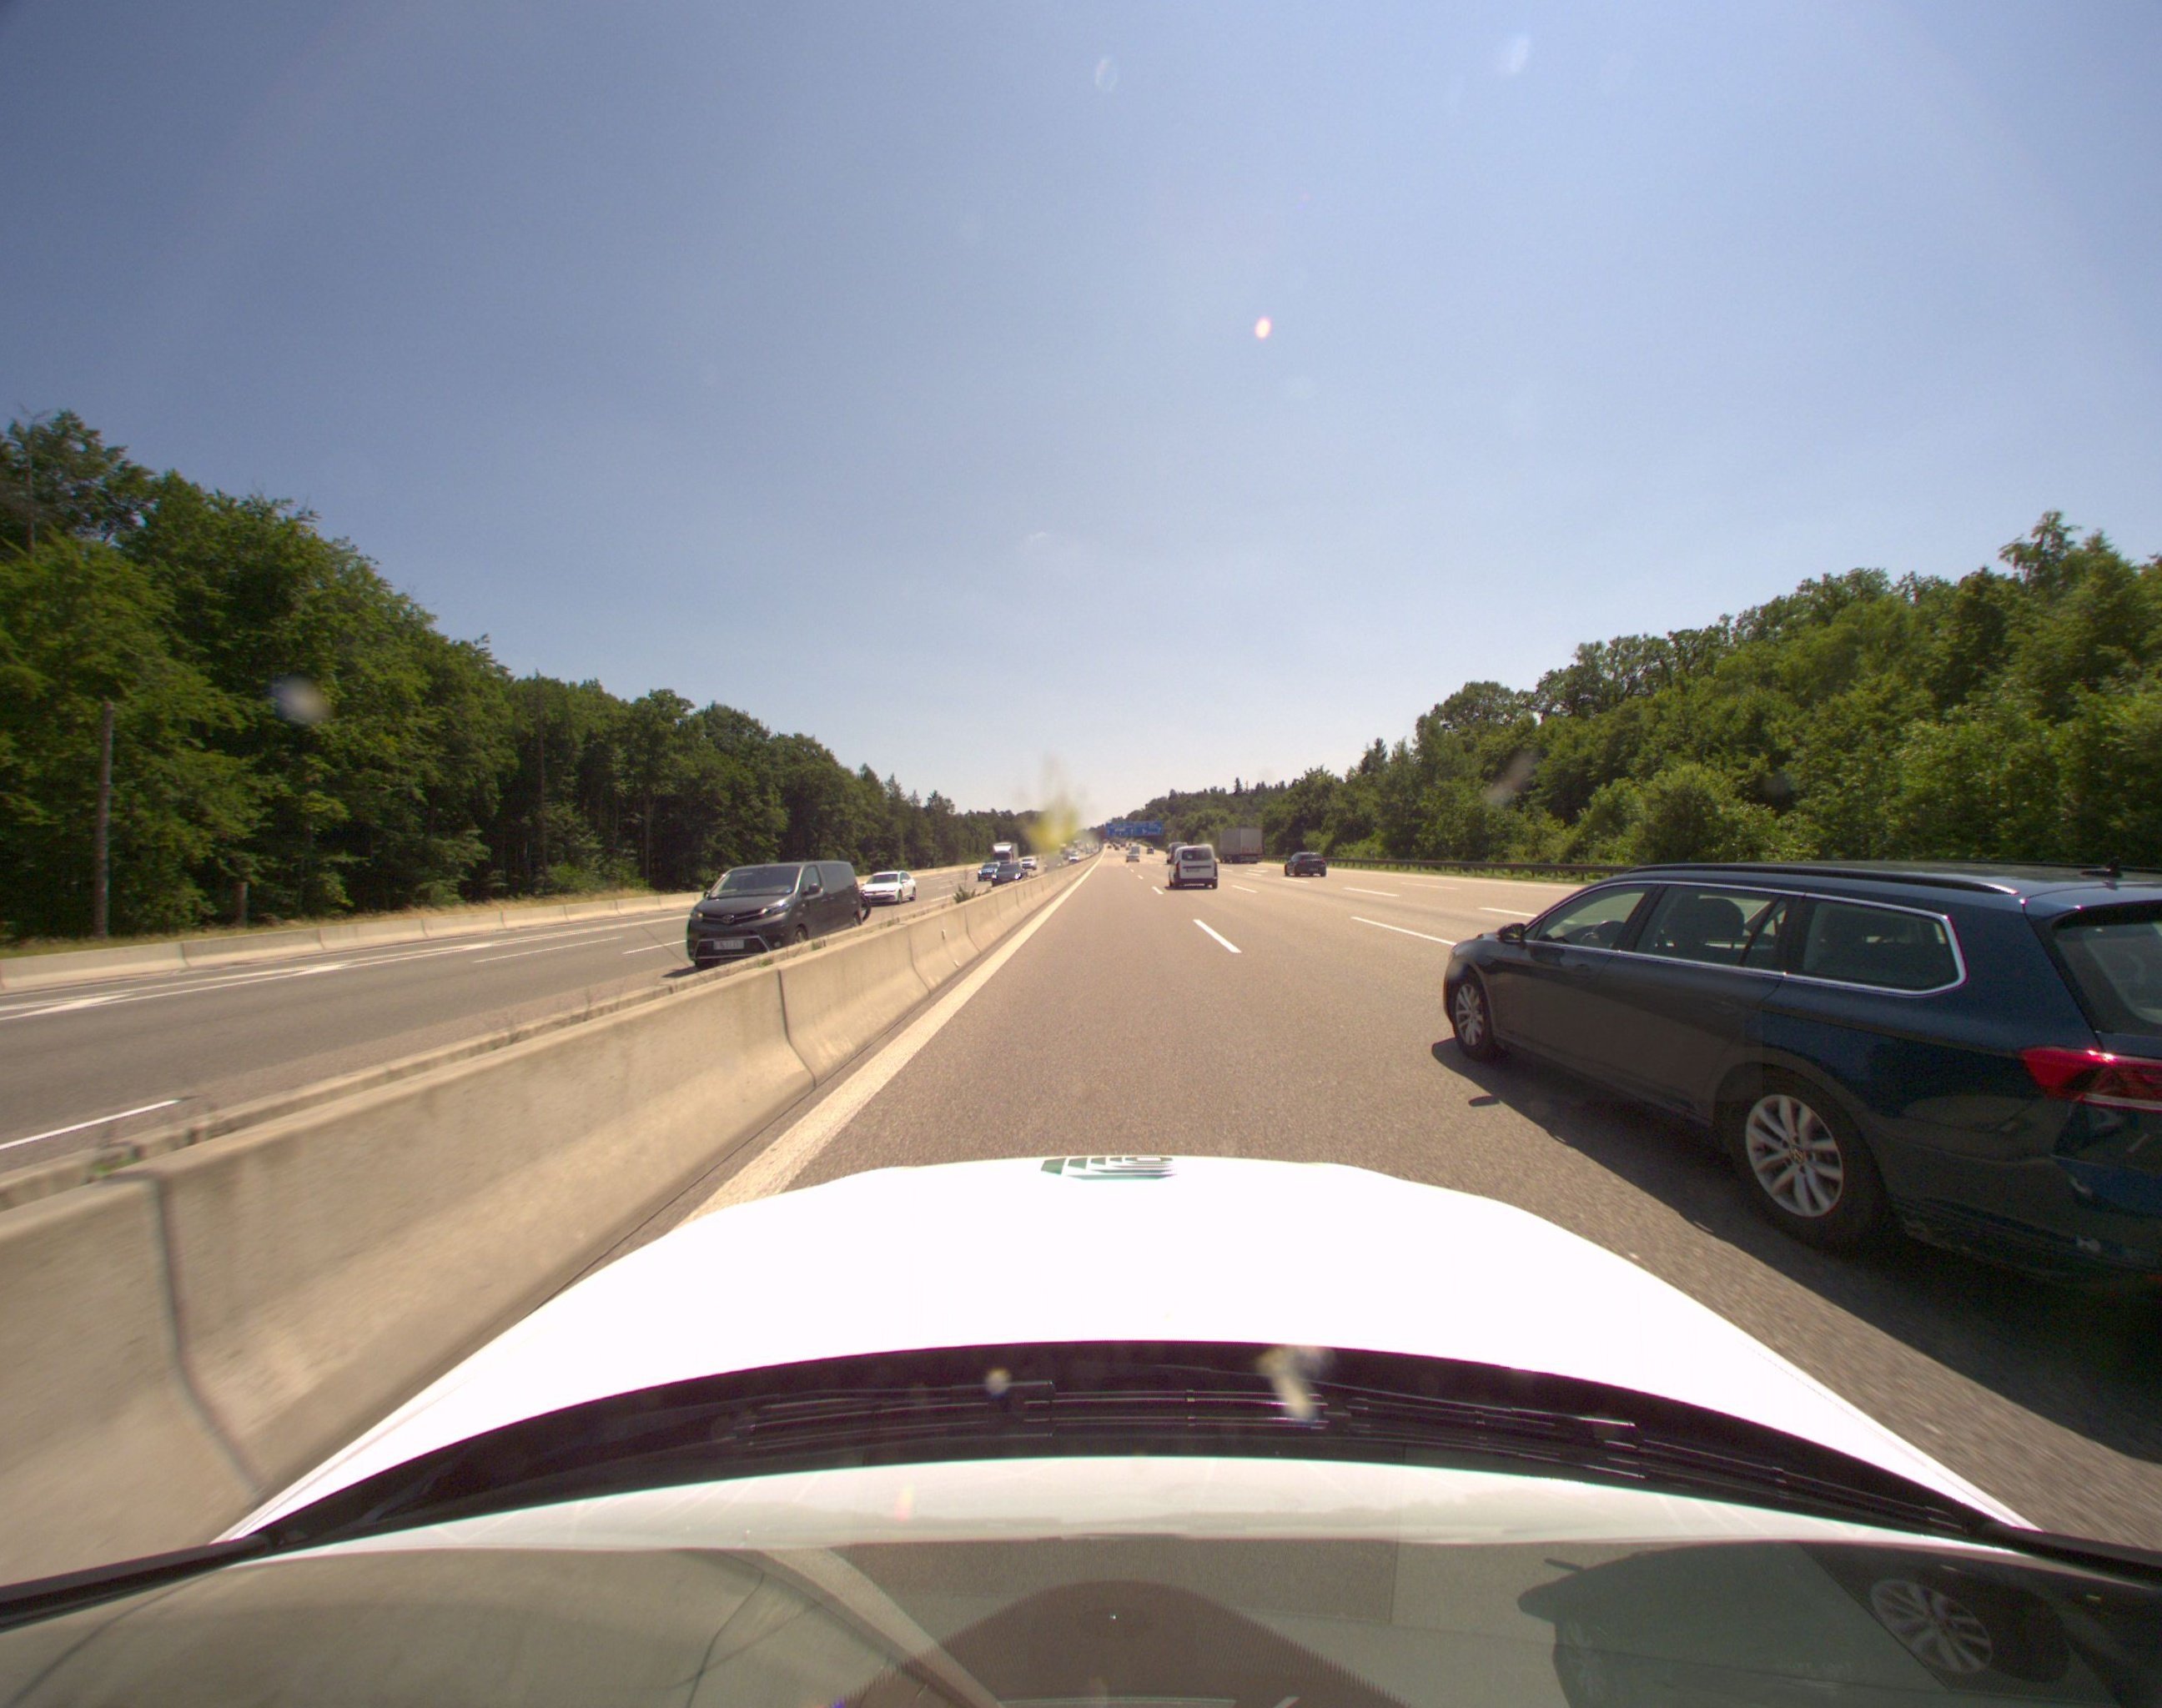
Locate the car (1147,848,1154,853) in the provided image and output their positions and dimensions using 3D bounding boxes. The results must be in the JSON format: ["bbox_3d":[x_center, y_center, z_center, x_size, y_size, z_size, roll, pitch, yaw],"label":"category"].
[{"bbox_3d":[18.950,-0.980,221.729,1.828,1.338,3.645,-3,0,2],"label":"car"}]

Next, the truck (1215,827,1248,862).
[{"bbox_3d":[18.771,-1.206,101.860,3.242,4.106,5.990,-1,1,2],"label":"truck"}]

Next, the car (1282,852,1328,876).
[{"bbox_3d":[13.037,0.580,47.659,1.664,1.273,4.292,-1,-1,2],"label":"car"}]

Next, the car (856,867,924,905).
[{"bbox_3d":[-8.584,1.408,36.969,1.754,1.464,4.841,-3,0,2],"label":"car"}]

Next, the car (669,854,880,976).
[{"bbox_3d":[-5.873,1.027,16.552,1.891,1.953,5.659,-3,0,2],"label":"car"}]

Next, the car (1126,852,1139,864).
[{"bbox_3d":[7.342,0.535,116.435,1.835,1.629,4.556,-3,0,3],"label":"car"}]

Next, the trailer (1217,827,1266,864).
[{"bbox_3d":[18.571,-1.032,95.207,3.275,3.930,13.895,-1,1,1],"label":"trailer"}]

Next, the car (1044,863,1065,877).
[{"bbox_3d":[-2.846,1.712,87.602,1.906,1.464,4.365,-3,-1,2],"label":"car"}]

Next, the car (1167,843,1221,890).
[{"bbox_3d":[4.834,0.524,35.446,1.852,1.825,4.615,-3,0,2],"label":"car"}]

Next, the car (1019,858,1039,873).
[{"bbox_3d":[-6.328,1.341,99.892,1.906,1.661,4.691,-3,0,2],"label":"car"}]

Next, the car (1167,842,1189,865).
[{"bbox_3d":[11.333,-0.093,95.527,2.135,2.652,5.713,-2,1,2],"label":"car"}]

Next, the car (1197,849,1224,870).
[{"bbox_3d":[9.788,0.402,61.707,1.498,1.500,3.651,-3,0,1],"label":"car"}]

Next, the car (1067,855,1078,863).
[{"bbox_3d":[-1.569,0.896,147.833,1.818,1.394,4.464,-3,0,0],"label":"car"}]

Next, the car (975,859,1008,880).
[{"bbox_3d":[-7.457,1.250,68.372,1.906,1.512,5.234,-4,0,2],"label":"car"}]

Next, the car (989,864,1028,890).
[{"bbox_3d":[-4.560,1.425,51.956,1.906,1.464,4.589,-3,-1,2],"label":"car"}]

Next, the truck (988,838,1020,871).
[{"bbox_3d":[-10.038,0.064,107.194,2.847,4.012,9.472,-3,0,2],"label":"truck"}]

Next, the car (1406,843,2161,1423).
[{"bbox_3d":[3.575,0.698,4.538,1.722,1.447,4.965,-2,0,3],"label":"car"}]

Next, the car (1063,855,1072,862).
[{"bbox_3d":[-2.927,0.956,176.812,1.567,1.511,4.030,-3,0,1],"label":"car"}]

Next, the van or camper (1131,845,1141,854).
[{"bbox_3d":[15.243,-1.255,226.512,2.635,2.538,6.505,-3,0,2],"label":"van or camper"}]

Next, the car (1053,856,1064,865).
[{"bbox_3d":[-4.182,1.134,149.565,1.696,1.427,4.614,-3,0,1],"label":"car"}]
